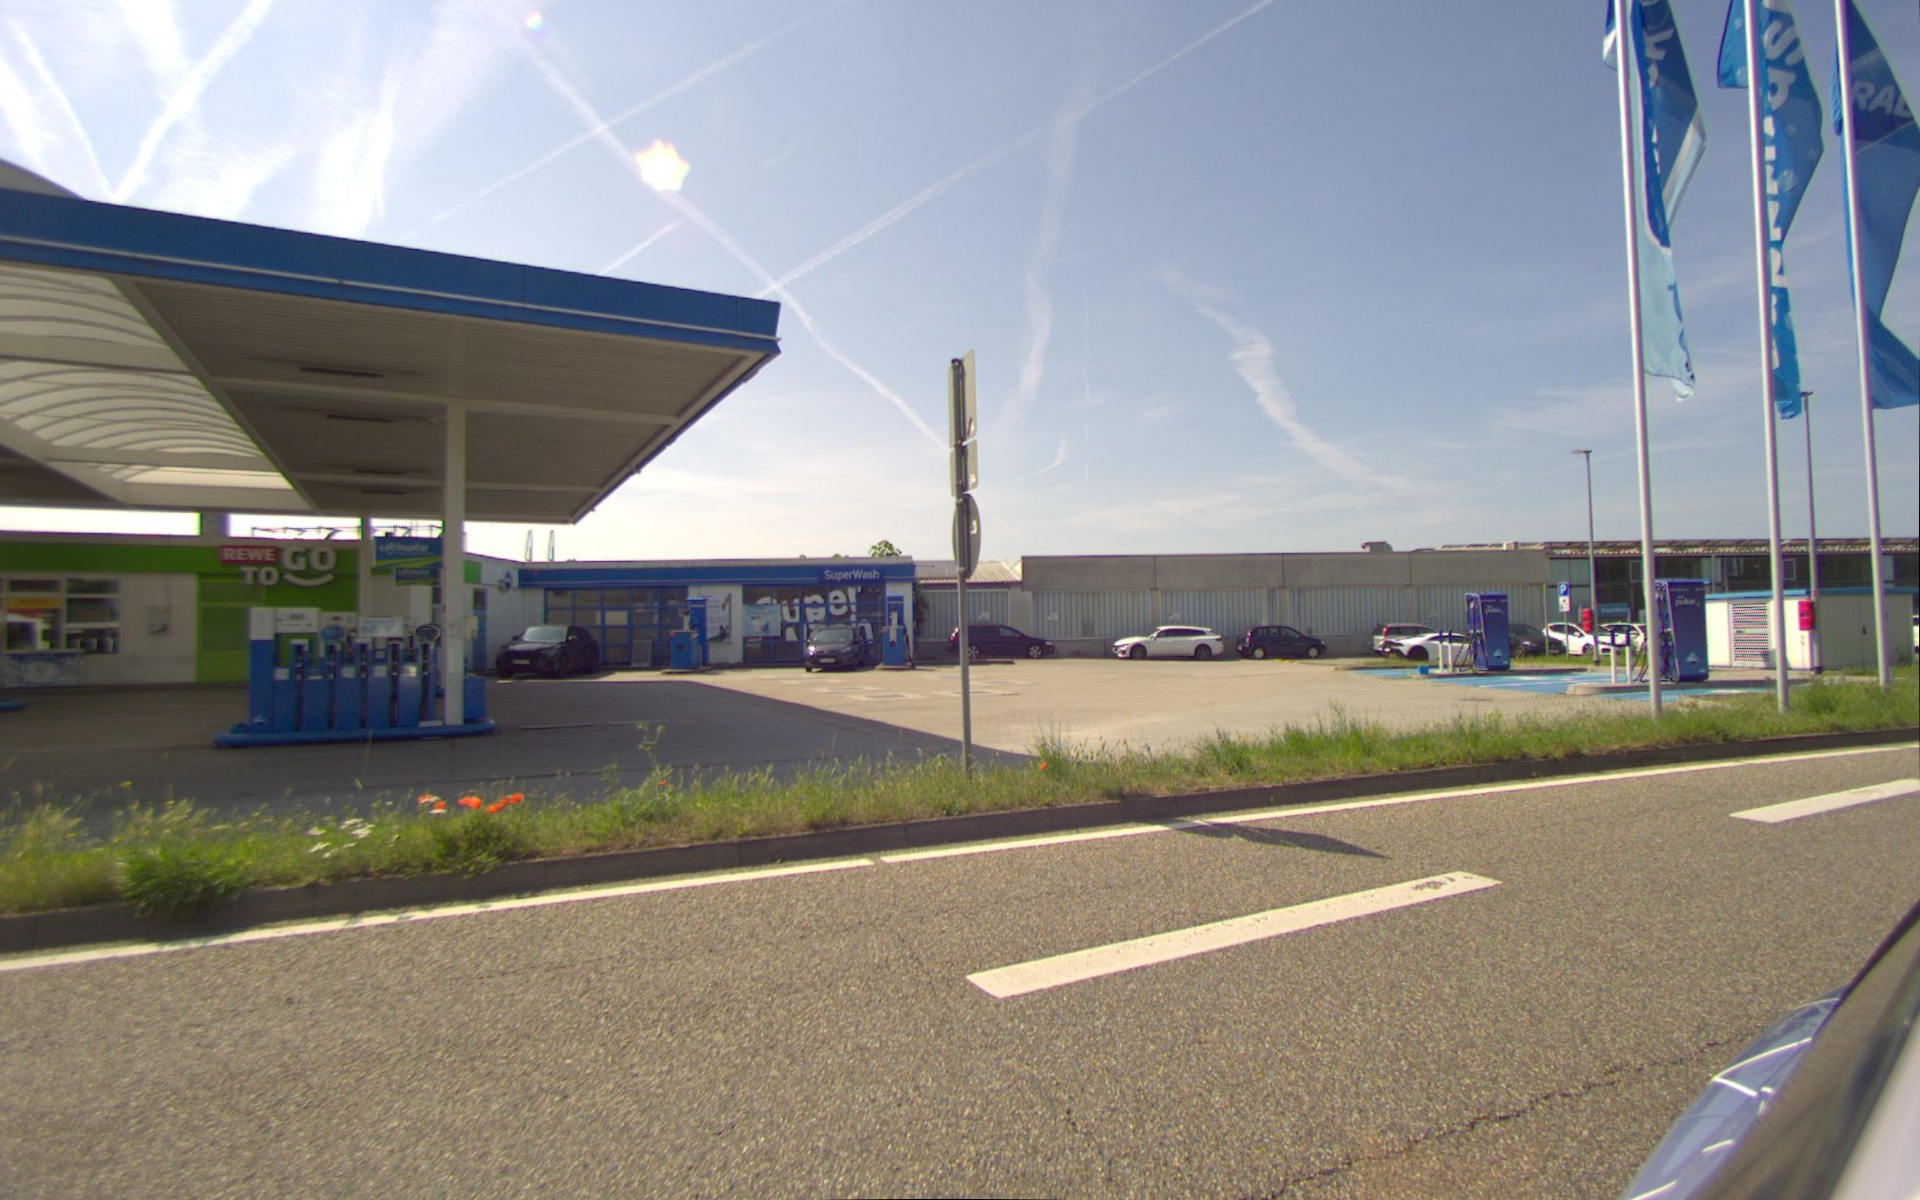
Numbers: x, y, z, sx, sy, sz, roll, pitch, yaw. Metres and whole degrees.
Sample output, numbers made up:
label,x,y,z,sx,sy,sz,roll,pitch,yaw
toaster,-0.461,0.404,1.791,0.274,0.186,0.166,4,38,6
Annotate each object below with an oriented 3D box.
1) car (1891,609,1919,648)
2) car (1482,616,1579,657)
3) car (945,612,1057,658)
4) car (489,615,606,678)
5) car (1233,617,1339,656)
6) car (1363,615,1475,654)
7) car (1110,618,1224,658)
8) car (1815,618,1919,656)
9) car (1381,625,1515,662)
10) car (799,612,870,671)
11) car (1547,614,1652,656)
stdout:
label,x,y,z,sx,sy,sz,roll,pitch,yaw
car,42.443,1.224,42.904,1.788,1.659,4.464,1,-1,0
car,23.697,1.489,42.225,1.855,1.625,4.018,-1,-1,2
car,1.709,1.491,43.415,4.562,1.849,1.892,-1,-1,-5
car,-13.278,1.525,32.908,1.867,1.850,4.731,-2,-3,0
car,14.140,1.583,44.048,3.944,1.625,1.890,-1,-1,0
car,19.914,1.482,44.066,3.948,1.625,1.888,-1,-1,4
car,8.863,1.601,43.609,4.441,1.625,1.891,-1,-1,-3
car,37.546,1.505,41.354,1.788,1.477,4.044,1,-1,1
car,17.876,1.582,37.158,4.047,1.269,1.699,-1,-1,0
car,-4.172,1.354,34.227,1.854,1.849,4.170,-1,-1,0
car,26.432,1.422,42.015,1.855,1.625,4.018,-1,-1,2
